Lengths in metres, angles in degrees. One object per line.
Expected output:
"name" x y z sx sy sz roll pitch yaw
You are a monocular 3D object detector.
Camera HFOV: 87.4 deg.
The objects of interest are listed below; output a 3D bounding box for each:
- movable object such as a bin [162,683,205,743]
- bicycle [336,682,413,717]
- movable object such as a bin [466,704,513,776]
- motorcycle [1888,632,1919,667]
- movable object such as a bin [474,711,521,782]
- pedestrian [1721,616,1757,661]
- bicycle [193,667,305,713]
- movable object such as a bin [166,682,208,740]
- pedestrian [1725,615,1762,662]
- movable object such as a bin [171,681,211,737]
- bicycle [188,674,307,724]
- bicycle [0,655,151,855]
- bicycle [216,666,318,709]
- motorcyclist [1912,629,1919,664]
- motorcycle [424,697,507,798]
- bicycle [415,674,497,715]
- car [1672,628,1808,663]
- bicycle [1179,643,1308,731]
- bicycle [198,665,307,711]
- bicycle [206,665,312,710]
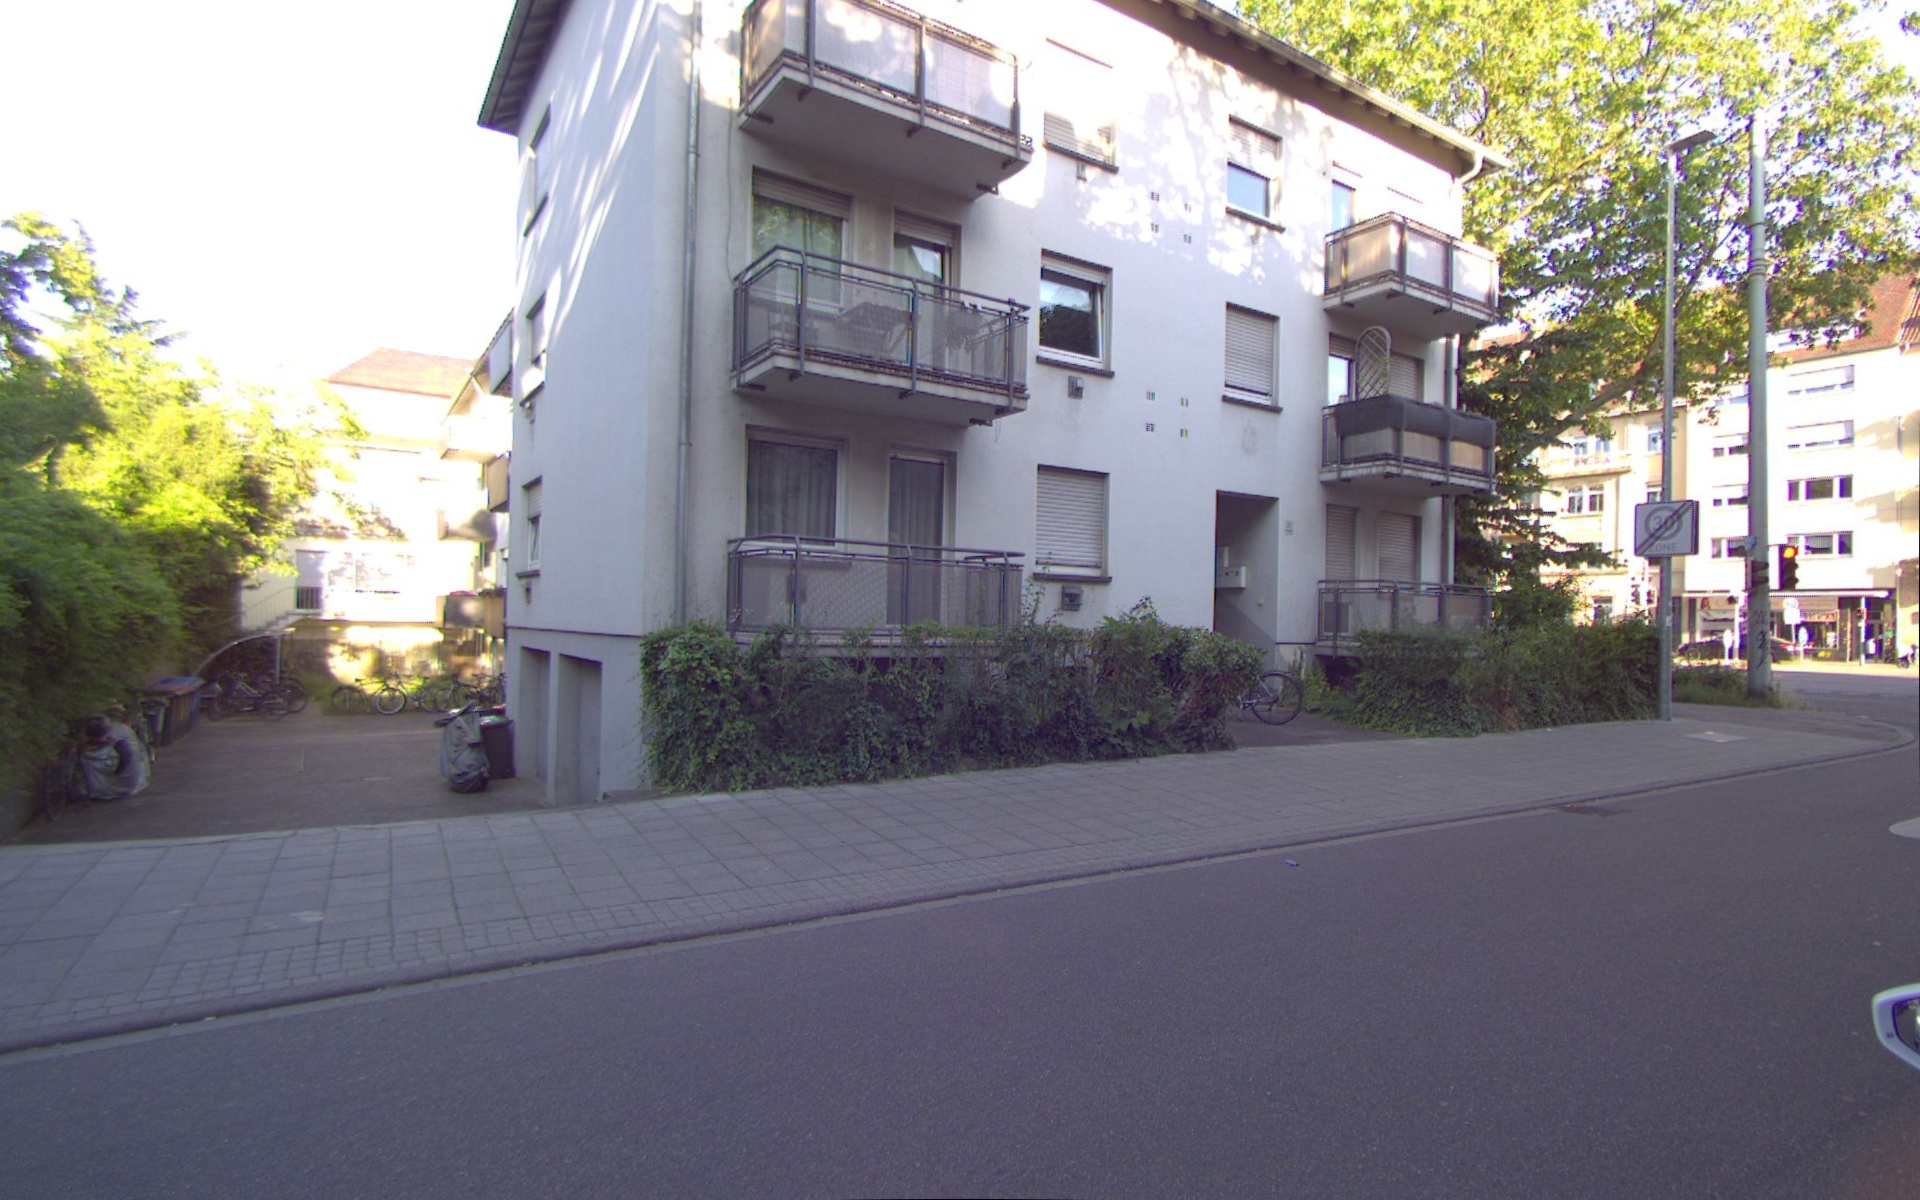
"movable object such as a bin" -15.490 2.236 20.053 0.606 1.129 0.795 1 -3 -33
"bicycle" -15.567 2.637 26.745 1.734 0.890 0.561 2 -4 -30
"movable object such as a bin" -7.917 2.337 16.902 0.606 1.129 0.795 1 -3 -33
"motorcycle" 40.648 2.111 42.456 0.562 1.471 2.021 1 -1 -33
"movable object such as a bin" -7.402 2.336 16.089 0.606 1.051 0.534 1 -3 -34
"pedestrian" 43.919 2.148 56.627 1.049 2.497 1.338 1 0 -34
"bicycle" -18.601 2.337 26.345 2.311 1.148 0.689 2 -4 -30
"movable object such as a bin" -15.931 2.269 20.724 0.606 1.129 0.795 1 -3 -33
"pedestrian" 42.899 2.098 55.000 1.049 2.497 1.338 1 0 -34
"movable object such as a bin" -16.363 2.298 21.385 0.606 1.129 0.795 1 -3 -33
"bicycle" -17.337 2.394 24.526 2.268 1.148 0.689 2 -4 -30
"bicycle" -10.602 1.665 11.979 0.961 1.917 4.156 1 -2 -32
"bicycle" -19.643 2.463 28.541 2.311 1.192 0.689 2 -4 -30
"motorcyclist" 40.710 1.956 42.367 0.562 1.471 0.677 1 -1 -33
"motorcycle" -7.405 2.161 15.007 0.739 1.313 1.563 2 -2 -41
"bicycle" -13.912 2.585 27.745 1.982 1.085 0.561 2 -4 -30
"car" 37.315 2.143 48.193 1.839 1.471 4.855 1 -1 -33
"bicycle" 3.828 1.159 13.570 1.590 1.022 0.517 3 1 20
"bicycle" -19.027 2.357 27.091 2.311 1.192 0.689 2 -4 -30
"bicycle" -19.373 2.413 27.816 2.311 1.192 0.689 2 -4 -30
